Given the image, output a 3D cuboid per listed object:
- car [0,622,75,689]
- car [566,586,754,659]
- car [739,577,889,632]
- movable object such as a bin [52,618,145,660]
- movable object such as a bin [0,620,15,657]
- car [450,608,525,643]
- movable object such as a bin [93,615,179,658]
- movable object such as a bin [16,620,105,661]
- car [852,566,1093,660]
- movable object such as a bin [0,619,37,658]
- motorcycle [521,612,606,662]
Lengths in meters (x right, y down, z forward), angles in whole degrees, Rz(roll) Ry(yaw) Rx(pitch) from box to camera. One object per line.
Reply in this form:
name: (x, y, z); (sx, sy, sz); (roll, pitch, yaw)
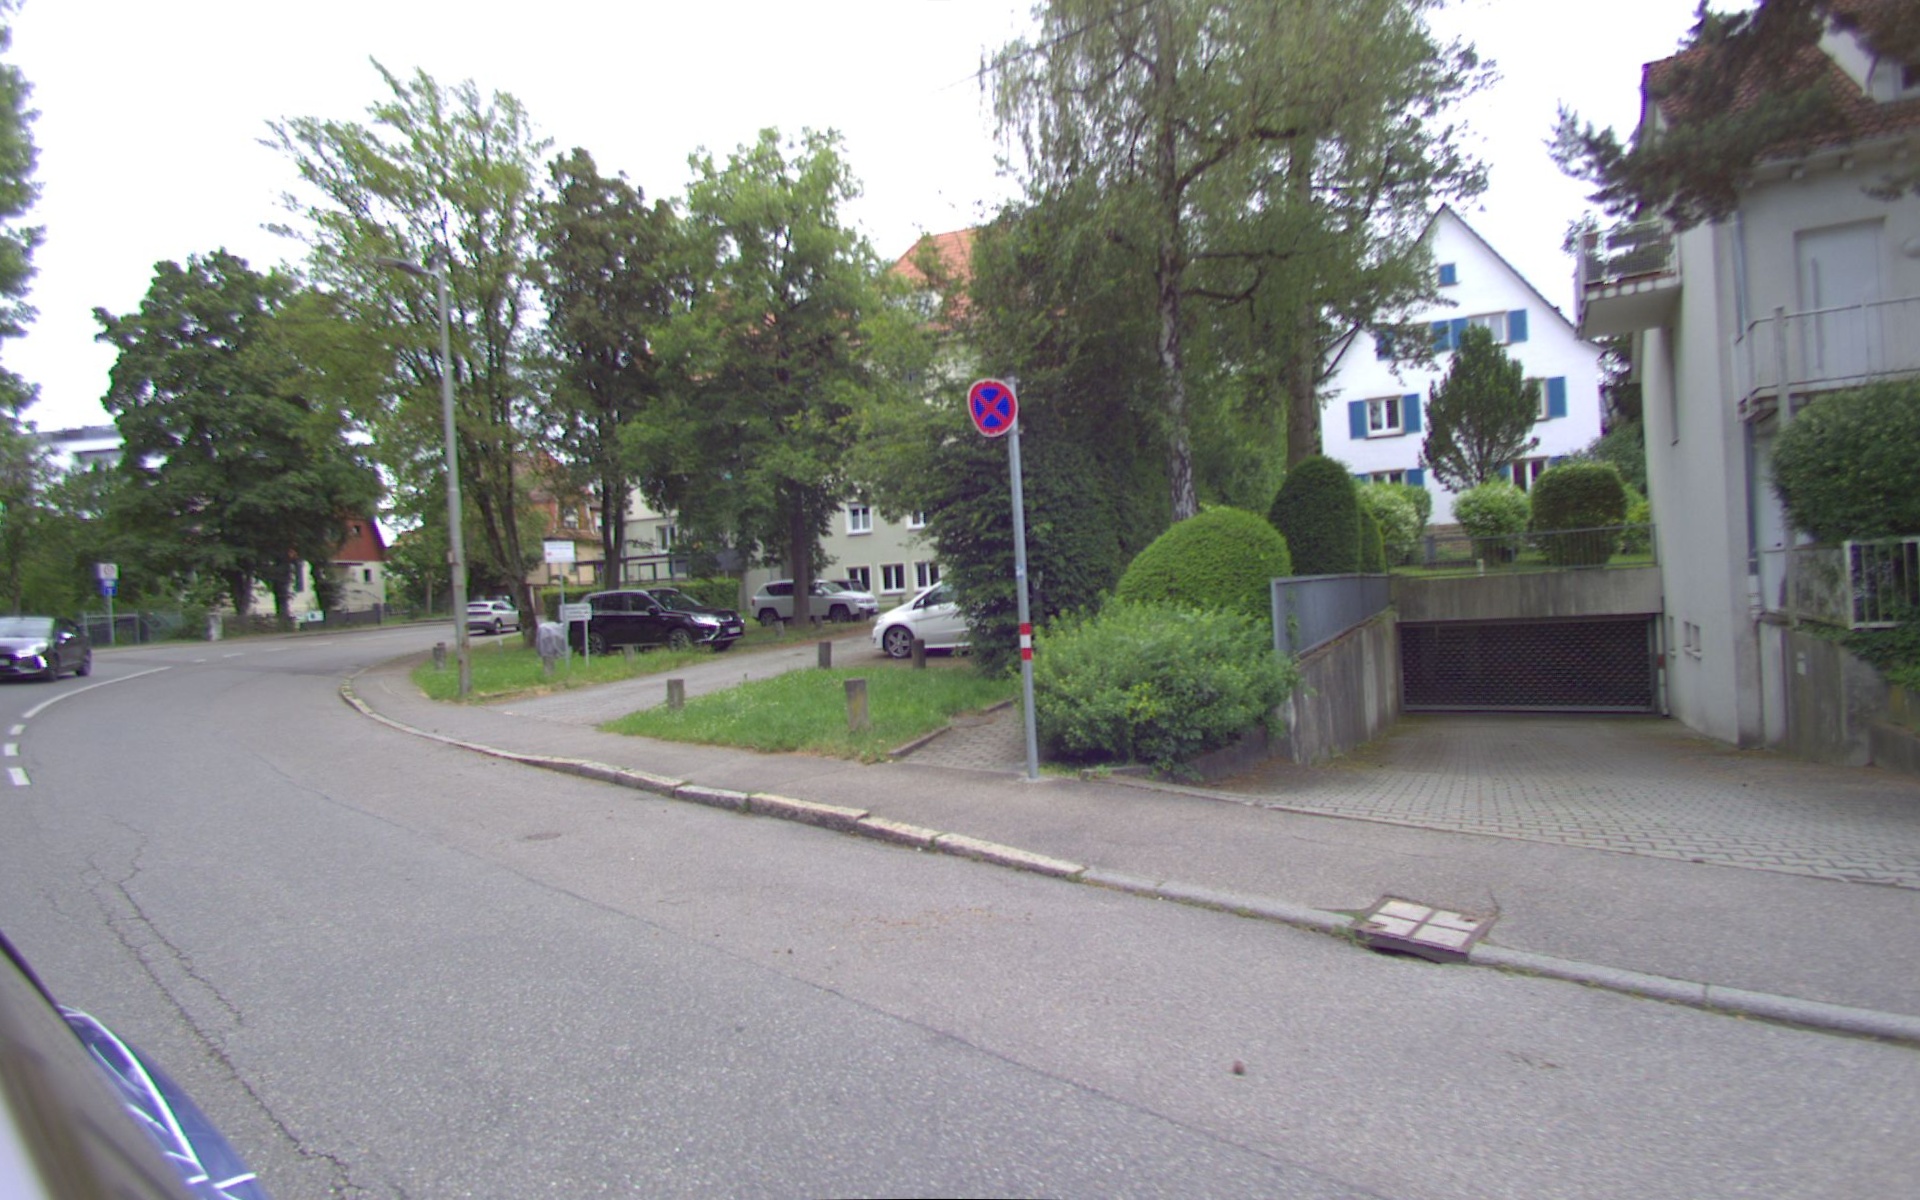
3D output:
car: (-21.584, 1.219, 23.097); (1.620, 1.409, 3.791); (1, -1, -34)
car: (-7.402, 0.553, 24.961); (4.304, 1.605, 1.734); (-2, 1, 23)
car: (-4.883, 0.141, 33.896); (4.555, 1.544, 1.944); (-3, 1, 20)
movable object such as a bin: (-40.334, 1.795, 47.408); (2.472, 1.726, 2.202); (-2, 1, 9)
movable object such as a bin: (-42.412, 1.718, 43.224); (2.861, 1.559, 1.444); (-2, 1, 6)
car: (-21.464, 1.137, 46.147); (1.704, 1.468, 4.081); (1, -1, -3)
movable object such as a bin: (-37.962, 1.665, 46.692); (2.086, 1.800, 2.202); (-2, 1, 9)
movable object such as a bin: (-42.624, 1.898, 48.014); (2.210, 1.745, 2.202); (-2, 1, 9)
car: (0.230, 0.260, 19.429); (4.246, 1.605, 1.733); (-2, 1, 25)
movable object such as a bin: (-40.181, 1.614, 42.384); (1.409, 1.559, 1.672); (-2, 1, 6)
motorcycle: (-10.393, 0.962, 26.605); (0.859, 1.160, 2.051); (-2, 1, 22)
